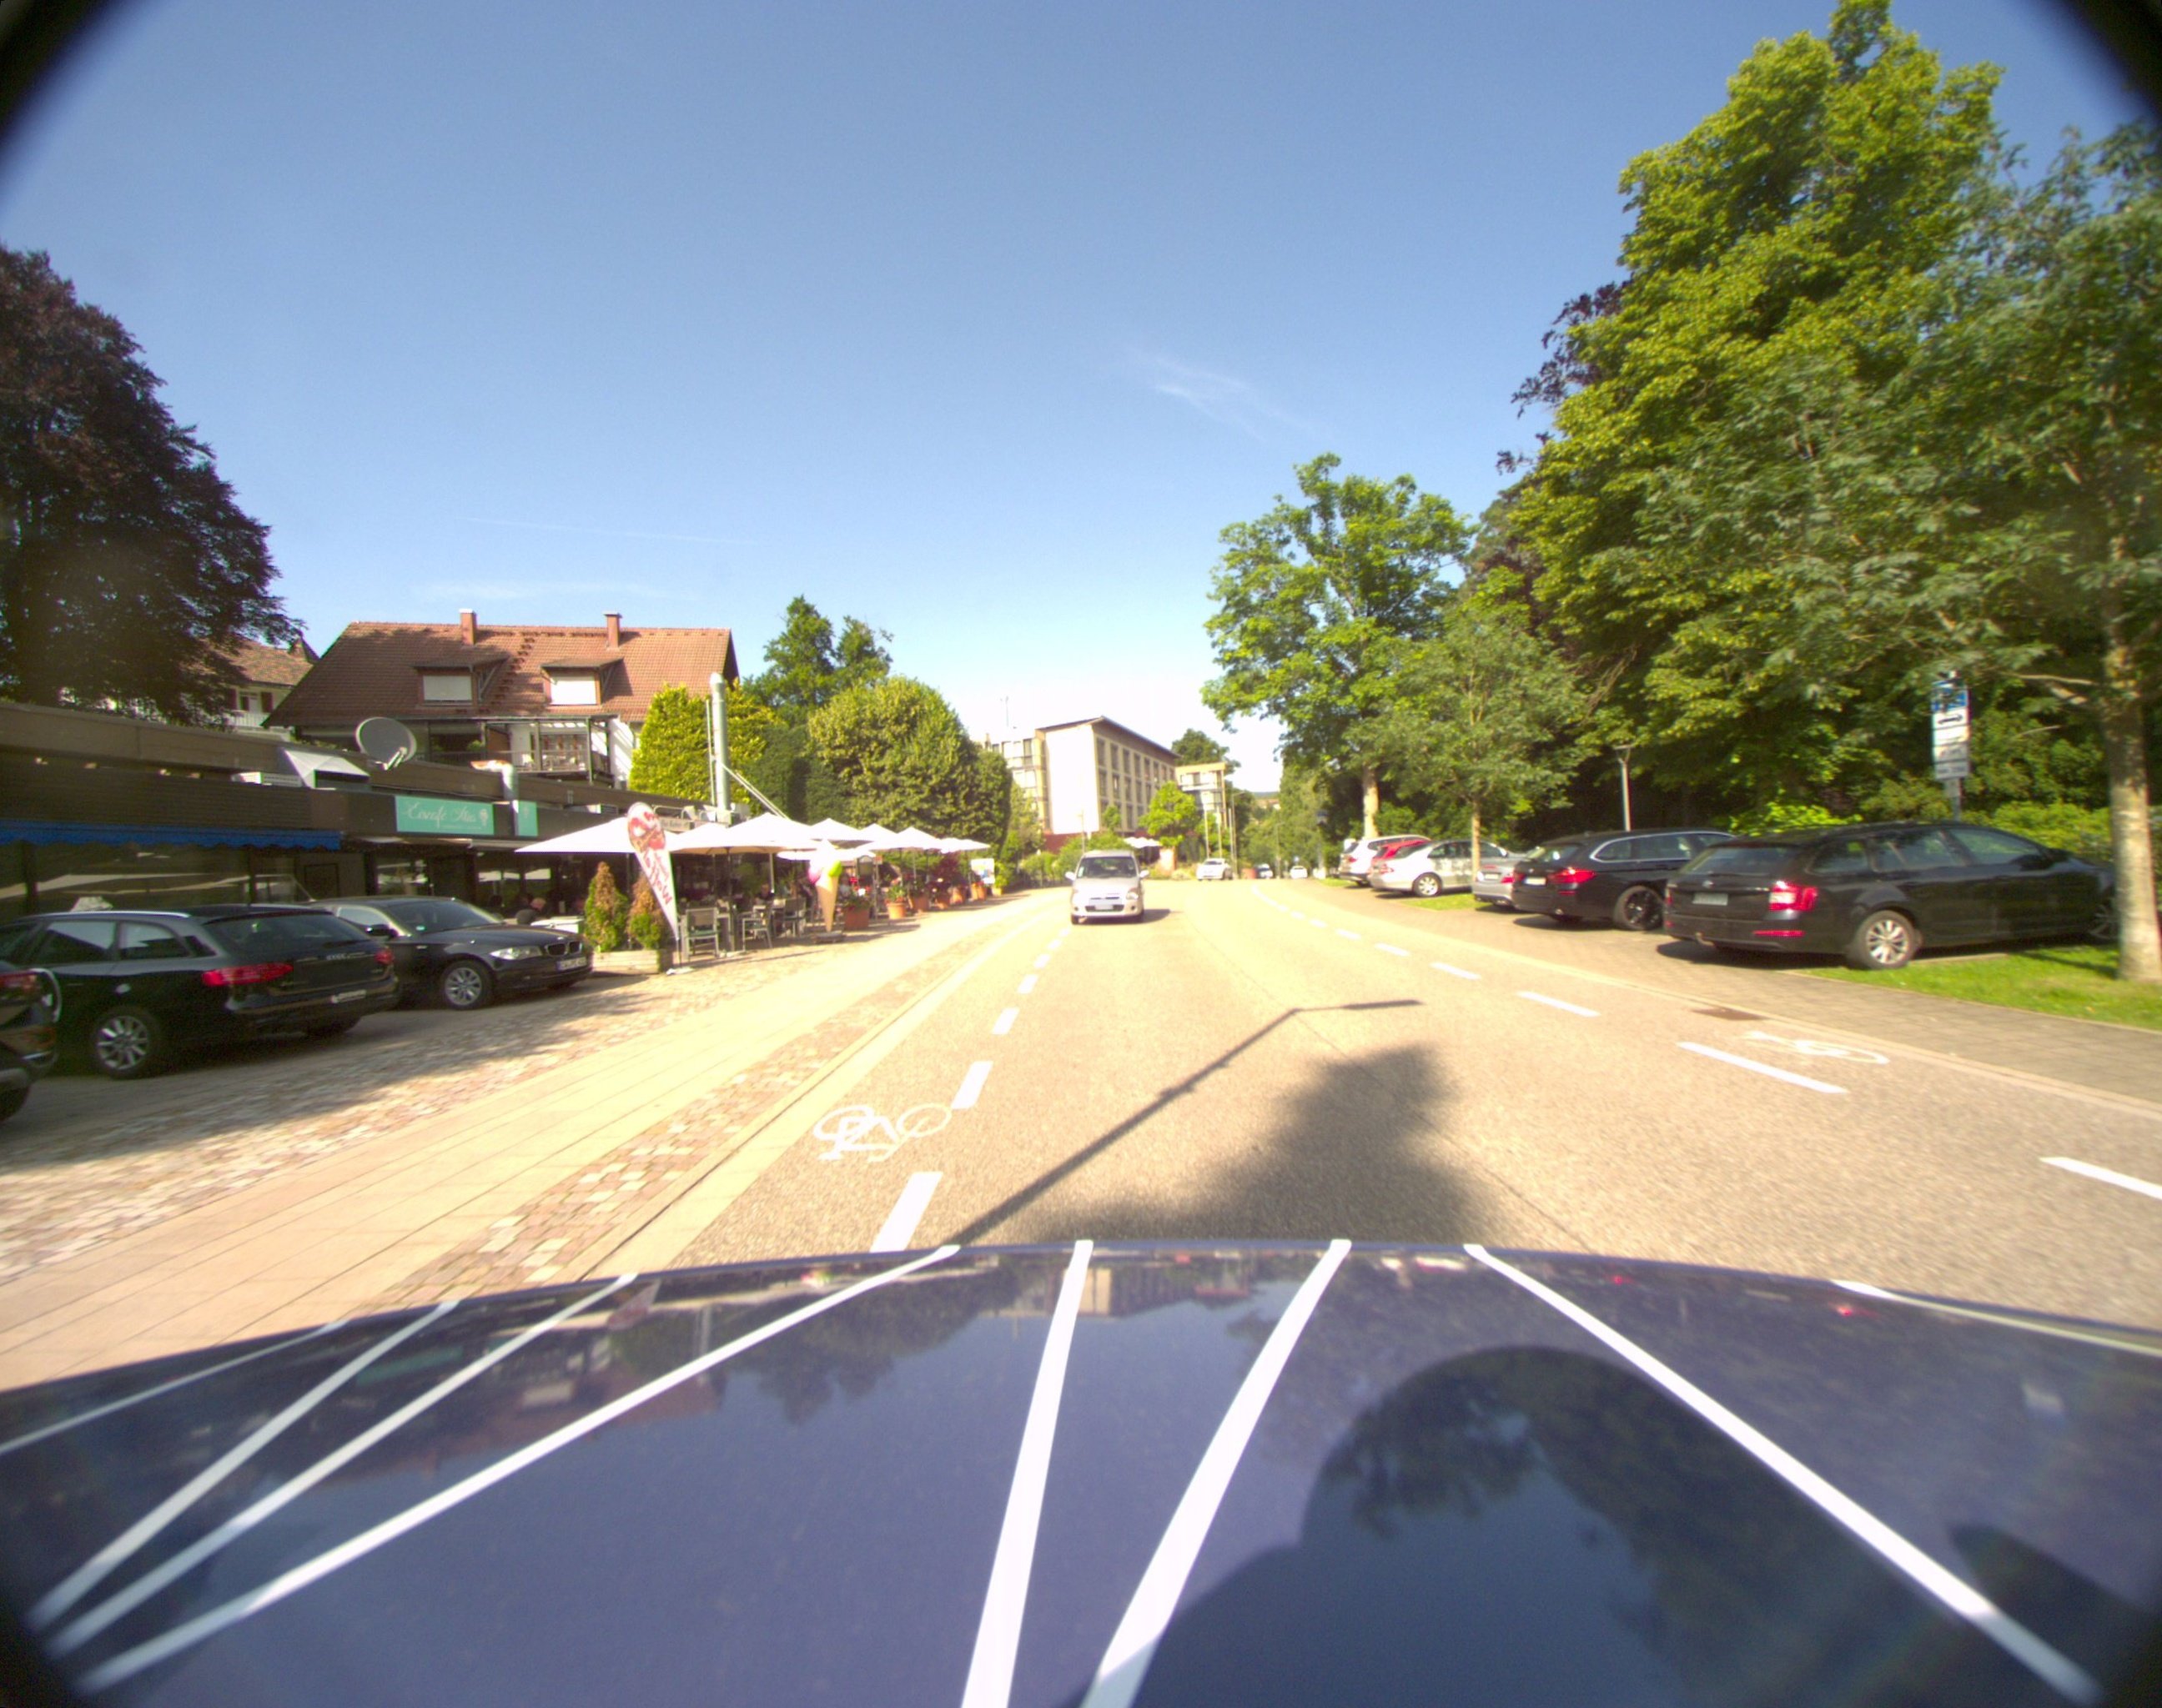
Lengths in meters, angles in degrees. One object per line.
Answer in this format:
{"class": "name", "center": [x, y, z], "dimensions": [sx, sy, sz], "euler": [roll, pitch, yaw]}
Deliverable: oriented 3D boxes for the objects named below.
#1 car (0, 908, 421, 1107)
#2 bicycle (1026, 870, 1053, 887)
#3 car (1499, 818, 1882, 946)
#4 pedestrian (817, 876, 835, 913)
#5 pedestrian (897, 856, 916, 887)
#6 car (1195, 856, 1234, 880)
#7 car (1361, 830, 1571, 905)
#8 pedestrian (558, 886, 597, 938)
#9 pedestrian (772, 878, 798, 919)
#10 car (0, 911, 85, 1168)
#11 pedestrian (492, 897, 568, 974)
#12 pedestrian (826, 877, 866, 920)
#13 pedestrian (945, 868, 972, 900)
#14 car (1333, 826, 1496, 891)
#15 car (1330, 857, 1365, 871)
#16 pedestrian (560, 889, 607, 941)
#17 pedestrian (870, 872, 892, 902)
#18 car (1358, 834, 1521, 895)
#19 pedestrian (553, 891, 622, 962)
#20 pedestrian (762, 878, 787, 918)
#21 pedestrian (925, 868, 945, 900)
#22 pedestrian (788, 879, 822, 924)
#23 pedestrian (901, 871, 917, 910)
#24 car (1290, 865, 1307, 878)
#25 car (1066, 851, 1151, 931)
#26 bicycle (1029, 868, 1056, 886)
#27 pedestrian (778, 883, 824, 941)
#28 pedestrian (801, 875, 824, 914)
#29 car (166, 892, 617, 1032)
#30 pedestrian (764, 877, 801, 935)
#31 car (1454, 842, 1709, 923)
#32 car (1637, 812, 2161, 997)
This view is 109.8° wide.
{"class": "car", "center": [-8.953, 1.360, 7.063], "dimensions": [4.119, 1.407, 1.748], "euler": [-3, 1, 2]}
{"class": "bicycle", "center": [-2.214, 1.297, 40.323], "dimensions": [1.543, 0.904, 0.385], "euler": [0, 0, 35]}
{"class": "car", "center": [9.309, 0.413, 11.873], "dimensions": [4.505, 1.501, 1.713], "euler": [-5, 0, 0]}
{"class": "pedestrian", "center": [-9.043, 1.430, 26.949], "dimensions": [0.470, 1.258, 0.440], "euler": [-2, 0, -2]}
{"class": "pedestrian", "center": [-7.284, 0.730, 31.744], "dimensions": [0.596, 1.230, 0.507], "euler": [-2, 0, -39]}
{"class": "car", "center": [8.864, 0.935, 50.104], "dimensions": [1.738, 1.488, 3.936], "euler": [-2, -1, 22]}
{"class": "car", "center": [9.910, 0.332, 19.917], "dimensions": [4.491, 1.409, 1.811], "euler": [-7, 1, 11]}
{"class": "pedestrian", "center": [-12.986, 1.478, 19.603], "dimensions": [0.686, 1.291, 0.638], "euler": [-2, 1, 41]}
{"class": "pedestrian", "center": [-9.638, 1.435, 24.755], "dimensions": [0.639, 1.297, 0.579], "euler": [-2, 0, -34]}
{"class": "car", "center": [-8.660, 1.253, 4.163], "dimensions": [3.886, 1.571, 1.748], "euler": [-3, 0, -2]}
{"class": "pedestrian", "center": [-9.765, 1.428, 13.477], "dimensions": [0.699, 1.253, 0.814], "euler": [-2, 0, 28]}
{"class": "pedestrian", "center": [-7.024, 1.326, 22.724], "dimensions": [0.810, 1.253, 0.701], "euler": [-2, 0, 21]}
{"class": "pedestrian", "center": [-5.086, 1.226, 31.543], "dimensions": [0.950, 1.276, 0.645], "euler": [-2, 0, 0]}
{"class": "car", "center": [10.952, 0.134, 25.201], "dimensions": [4.493, 1.654, 1.810], "euler": [-5, 1, 4]}
{"class": "car", "center": [30.982, 1.169, 88.231], "dimensions": [4.006, 1.388, 1.514], "euler": [-2, -3, -29]}
{"class": "pedestrian", "center": [-12.066, 1.462, 18.425], "dimensions": [0.686, 1.201, 0.702], "euler": [-2, 0, 33]}
{"class": "pedestrian", "center": [-8.230, 1.354, 31.239], "dimensions": [0.507, 1.224, 0.700], "euler": [-2, 0, 21]}
{"class": "car", "center": [10.651, 0.292, 22.800], "dimensions": [3.995, 1.424, 1.720], "euler": [-5, 1, 7]}
{"class": "pedestrian", "center": [-9.300, 1.349, 14.336], "dimensions": [0.699, 1.253, 0.814], "euler": [-2, 0, 28]}
{"class": "pedestrian", "center": [-10.220, 1.467, 25.345], "dimensions": [0.639, 1.275, 0.579], "euler": [-2, 0, -34]}
{"class": "pedestrian", "center": [-6.084, 1.251, 31.627], "dimensions": [0.649, 1.276, 0.645], "euler": [-2, 0, 0]}
{"class": "pedestrian", "center": [-8.117, 1.385, 22.320], "dimensions": [0.701, 1.253, 0.810], "euler": [-3, 0, -34]}
{"class": "pedestrian", "center": [-5.782, 1.222, 25.512], "dimensions": [0.473, 1.238, 0.592], "euler": [-2, 1, -14]}
{"class": "car", "center": [26.763, 2.111, 93.464], "dimensions": [1.738, 1.389, 4.004], "euler": [-2, 0, 13]}
{"class": "car", "center": [0.749, 0.781, 18.048], "dimensions": [1.604, 1.628, 4.002], "euler": [-2, 0, 7]}
{"class": "bicycle", "center": [-2.114, 1.233, 41.339], "dimensions": [1.543, 0.977, 0.385], "euler": [-1, 0, 35]}
{"class": "pedestrian", "center": [-6.424, 1.314, 17.472], "dimensions": [0.812, 1.253, 0.700], "euler": [-2, 0, -7]}
{"class": "pedestrian", "center": [-9.259, 1.404, 26.201], "dimensions": [0.531, 1.297, 0.609], "euler": [-2, 0, -1]}
{"class": "car", "center": [-8.673, 1.326, 9.811], "dimensions": [4.272, 1.371, 1.709], "euler": [-3, 1, 2]}
{"class": "pedestrian", "center": [-7.390, 1.266, 18.771], "dimensions": [0.701, 1.373, 0.810], "euler": [-3, 0, -28]}
{"class": "car", "center": [9.694, 0.522, 14.947], "dimensions": [3.803, 1.236, 1.762], "euler": [-4, 1, 0]}
{"class": "car", "center": [8.818, 0.478, 8.304], "dimensions": [4.288, 1.423, 1.712], "euler": [-5, 0, -5]}
